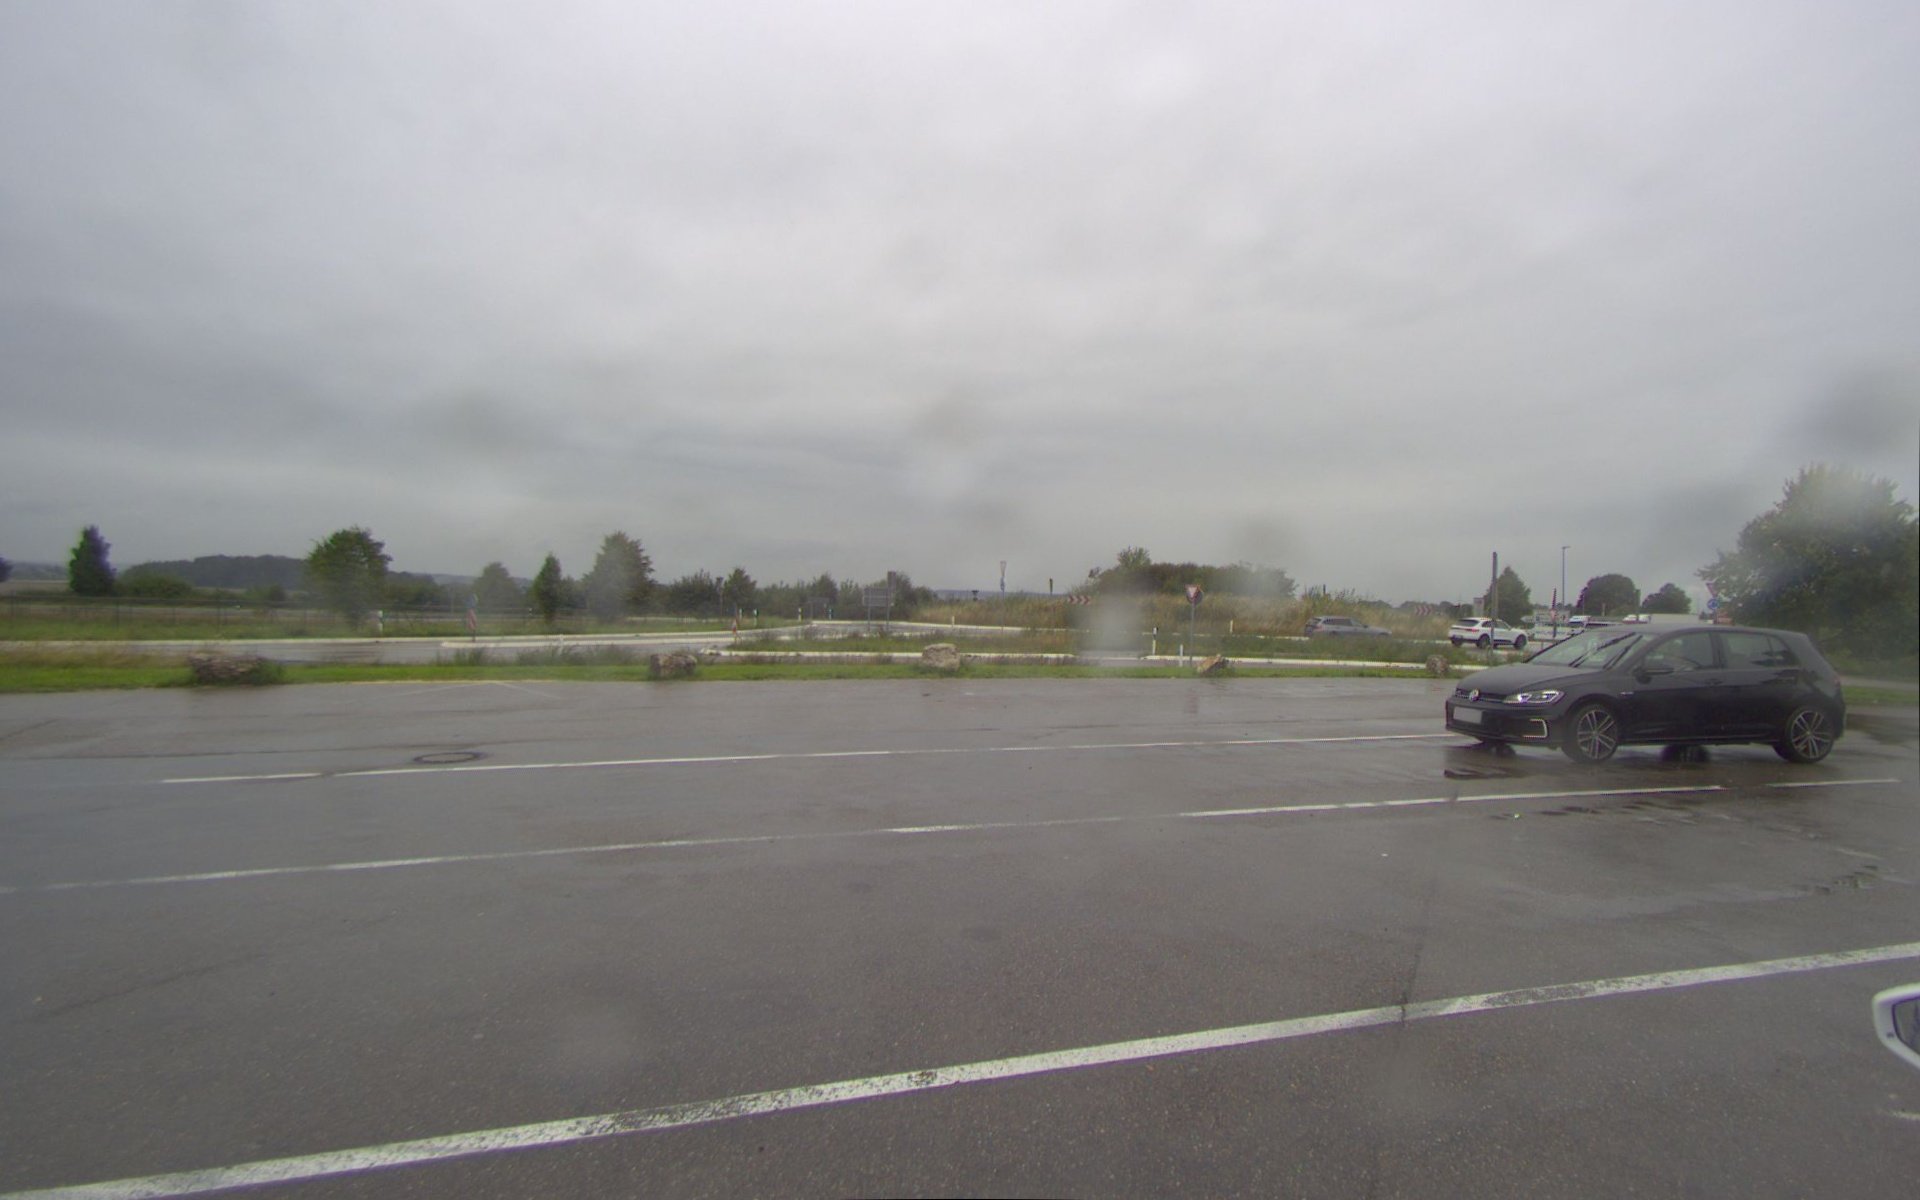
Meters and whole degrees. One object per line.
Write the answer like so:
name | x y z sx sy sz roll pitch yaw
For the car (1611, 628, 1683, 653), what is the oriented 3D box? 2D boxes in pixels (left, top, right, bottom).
car | 53.335 3.161 78.031 4.278 1.782 1.750 1 -1 9

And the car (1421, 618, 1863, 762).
car | 7.629 0.975 11.426 4.003 1.452 1.777 1 0 -8

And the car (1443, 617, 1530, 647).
car | 28.919 1.760 55.188 4.316 1.605 1.687 1 -1 -18

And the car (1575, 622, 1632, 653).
car | 41.039 2.363 64.013 4.612 1.898 1.975 2 -1 -43

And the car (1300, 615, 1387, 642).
car | 20.399 1.494 53.513 3.965 1.343 1.693 1 -1 -2
